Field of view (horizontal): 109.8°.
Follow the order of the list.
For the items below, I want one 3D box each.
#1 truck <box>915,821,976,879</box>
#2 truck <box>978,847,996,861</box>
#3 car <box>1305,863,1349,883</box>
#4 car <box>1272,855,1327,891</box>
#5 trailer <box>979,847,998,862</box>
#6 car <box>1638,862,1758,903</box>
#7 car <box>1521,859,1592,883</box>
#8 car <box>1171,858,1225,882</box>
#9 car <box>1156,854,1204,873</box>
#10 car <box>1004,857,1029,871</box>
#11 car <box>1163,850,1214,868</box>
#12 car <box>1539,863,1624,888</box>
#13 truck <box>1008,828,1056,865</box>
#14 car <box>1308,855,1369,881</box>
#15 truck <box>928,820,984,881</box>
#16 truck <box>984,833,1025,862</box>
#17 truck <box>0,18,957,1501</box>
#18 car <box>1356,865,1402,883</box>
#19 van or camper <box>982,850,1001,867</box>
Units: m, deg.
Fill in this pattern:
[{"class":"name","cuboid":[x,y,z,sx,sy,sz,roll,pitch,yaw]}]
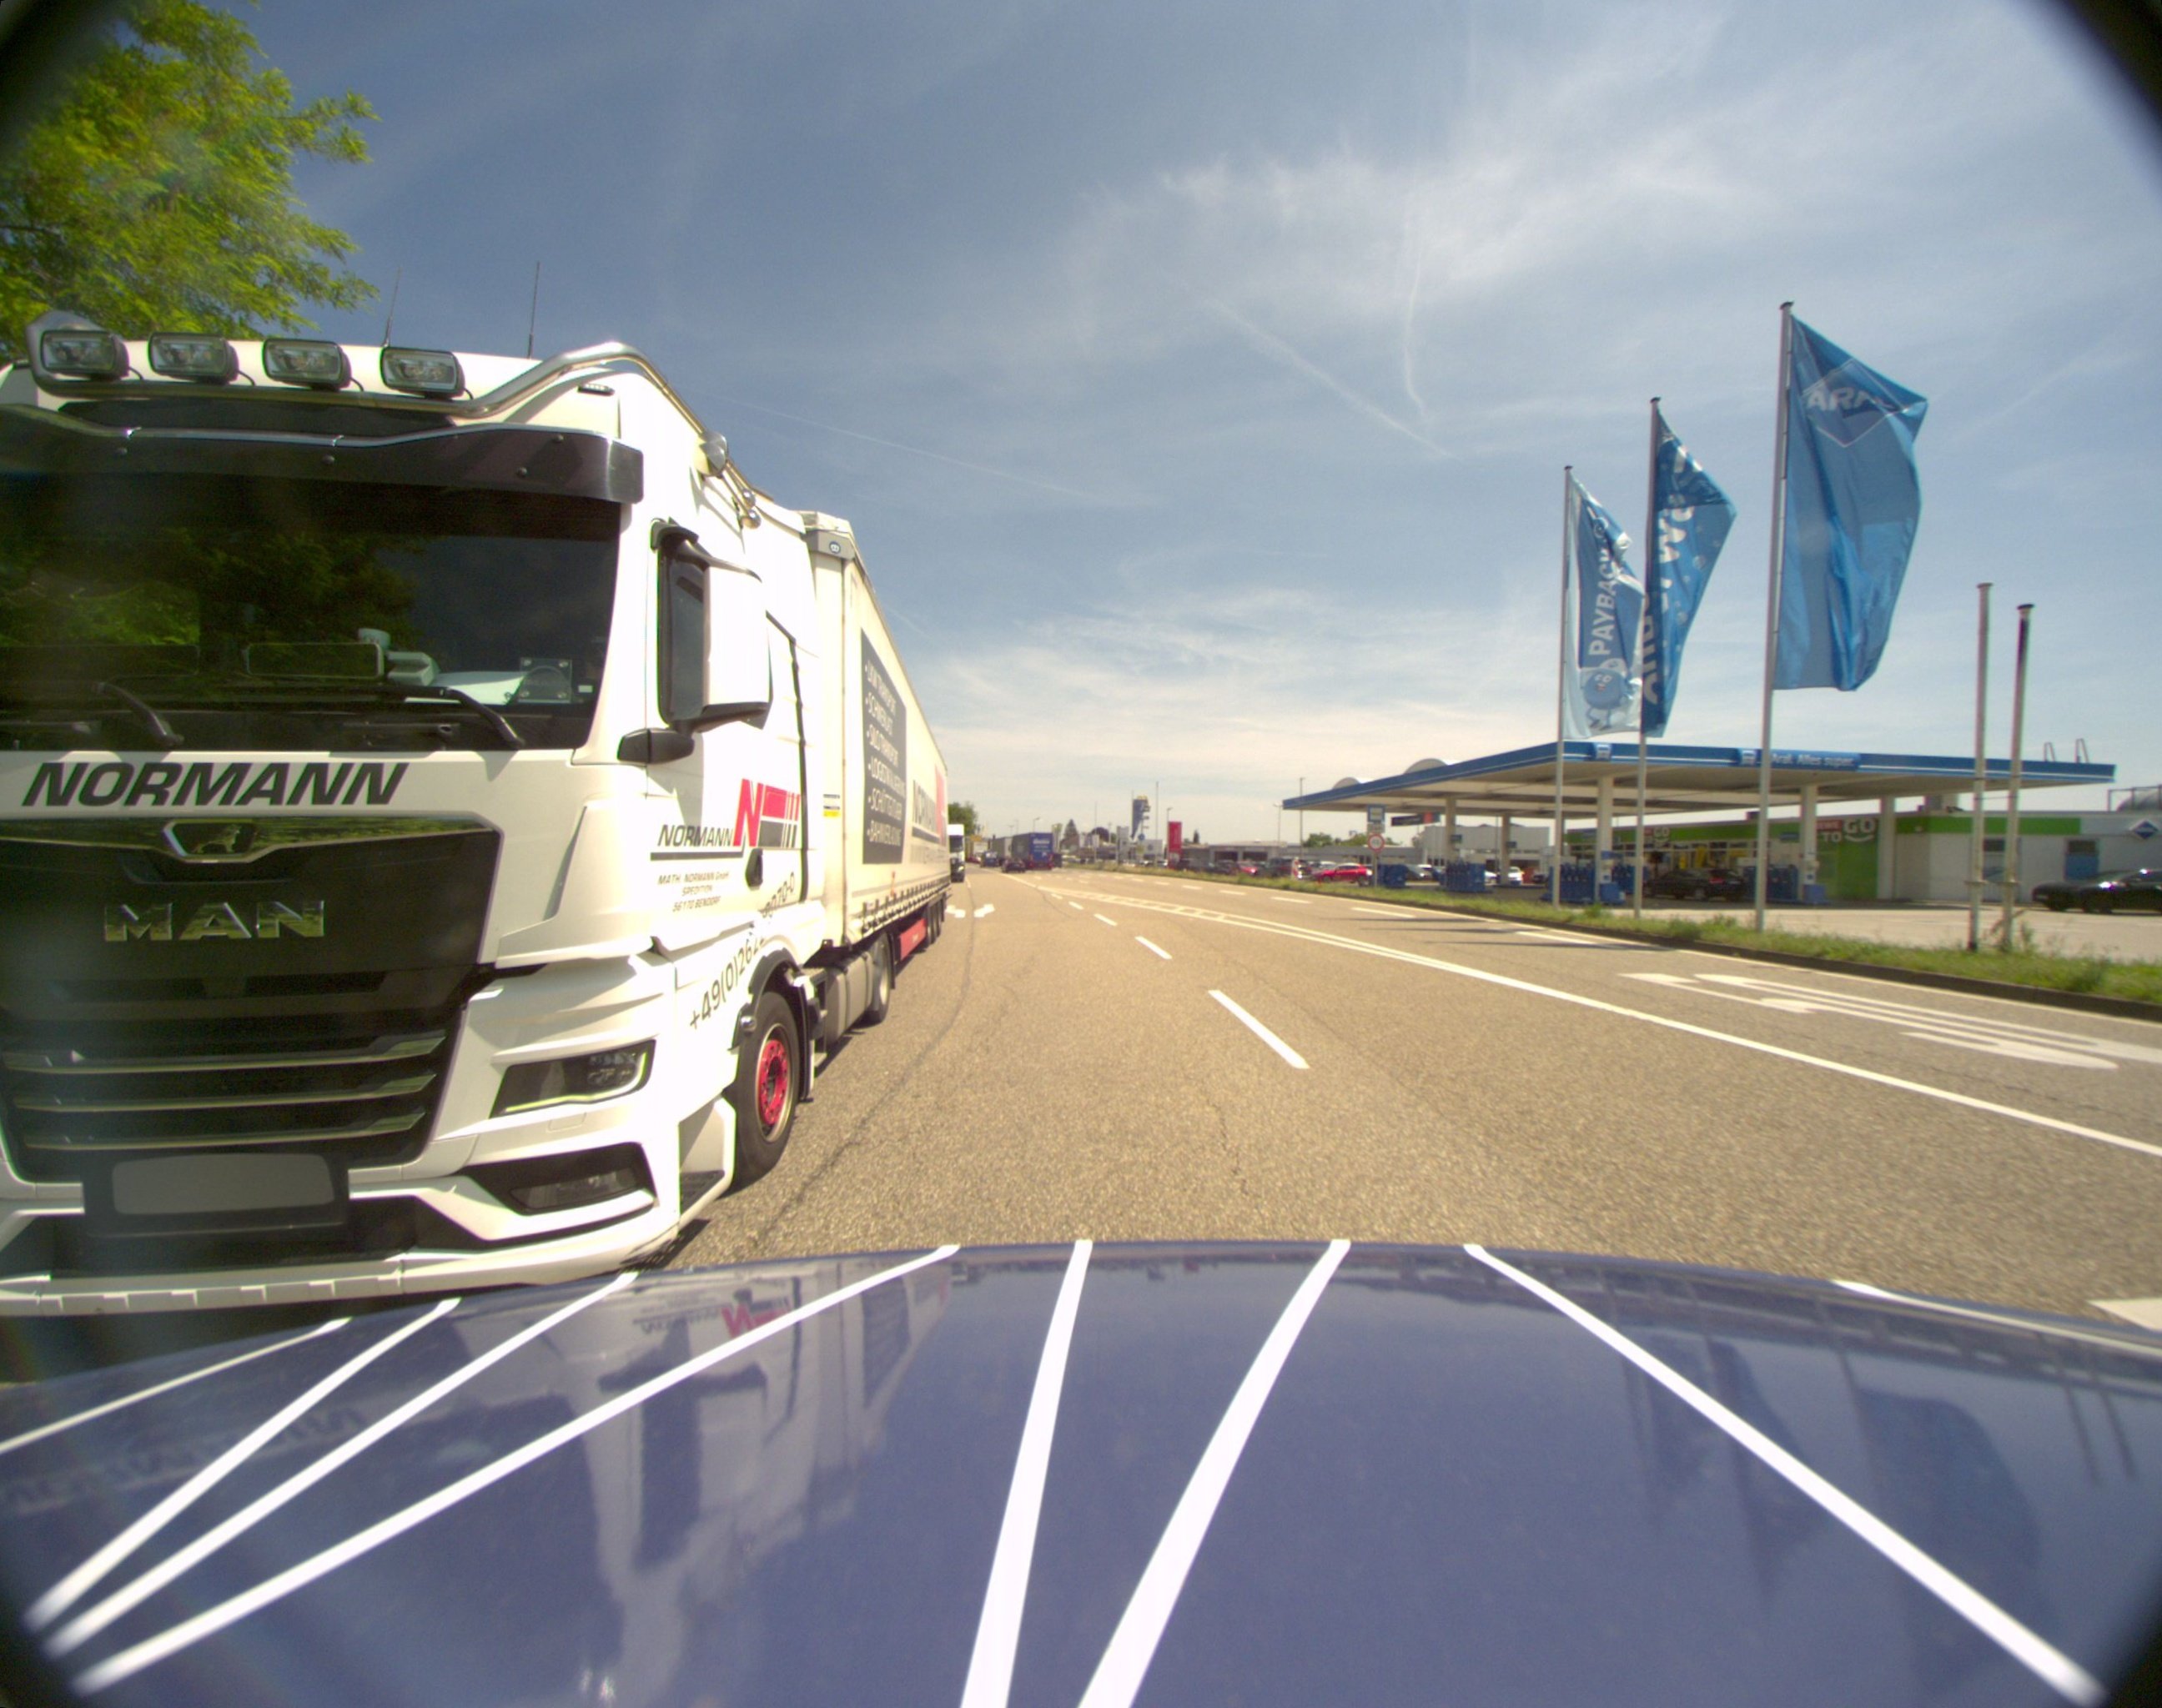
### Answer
[{"class":"truck","cuboid":[-11.009,-0.341,60.409,2.985,3.986,14.099,1,0,-17]},{"class":"truck","cuboid":[-16.327,0.001,131.507,2.434,2.326,5.668,3,0,-12]},{"class":"car","cuboid":[20.284,1.584,62.770,1.712,1.526,3.996,1,0,-11]},{"class":"car","cuboid":[11.456,0.944,39.600,1.829,1.709,4.578,1,0,28]},{"class":"trailer","cuboid":[-15.547,0.035,127.723,2.437,2.324,6.888,3,0,-12]},{"class":"car","cuboid":[26.742,1.198,33.120,1.606,1.469,4.104,3,1,-5]},{"class":"car","cuboid":[34.367,1.213,54.920,4.000,1.630,1.947,1,0,-7]},{"class":"car","cuboid":[8.929,1.179,58.027,4.008,1.695,1.837,0,1,-39]},{"class":"car","cuboid":[8.744,0.831,66.647,4.191,1.577,1.777,1,0,-40]},{"class":"car","cuboid":[-6.162,0.896,72.065,1.855,1.263,4.171,1,0,-13]},{"class":"car","cuboid":[9.059,0.440,63.834,4.007,1.477,1.815,1,0,-32]},{"class":"car","cuboid":[30.050,1.257,45.808,1.999,1.370,4.381,1,0,-4]},{"class":"truck","cuboid":[-5.912,-0.777,87.773,2.855,3.866,16.984,1,0,-13]},{"class":"car","cuboid":[19.818,1.066,58.530,3.999,1.892,1.999,1,0,-6]},{"class":"truck","cuboid":[-8.938,-0.234,53.730,2.985,3.986,6.316,2,0,-17]},{"class":"truck","cuboid":[-11.199,-0.976,109.200,2.801,3.867,16.454,0,1,-17]},{"class":"truck","cuboid":[-3.682,-0.337,10.884,2.982,4.070,17.620,-2,1,-7]},{"class":"car","cuboid":[25.023,1.699,63.891,1.712,1.388,3.996,1,0,-11]},{"class":"van or camper","cuboid":[-11.402,0.540,96.746,1.843,2.125,5.336,0,0,-13]}]
